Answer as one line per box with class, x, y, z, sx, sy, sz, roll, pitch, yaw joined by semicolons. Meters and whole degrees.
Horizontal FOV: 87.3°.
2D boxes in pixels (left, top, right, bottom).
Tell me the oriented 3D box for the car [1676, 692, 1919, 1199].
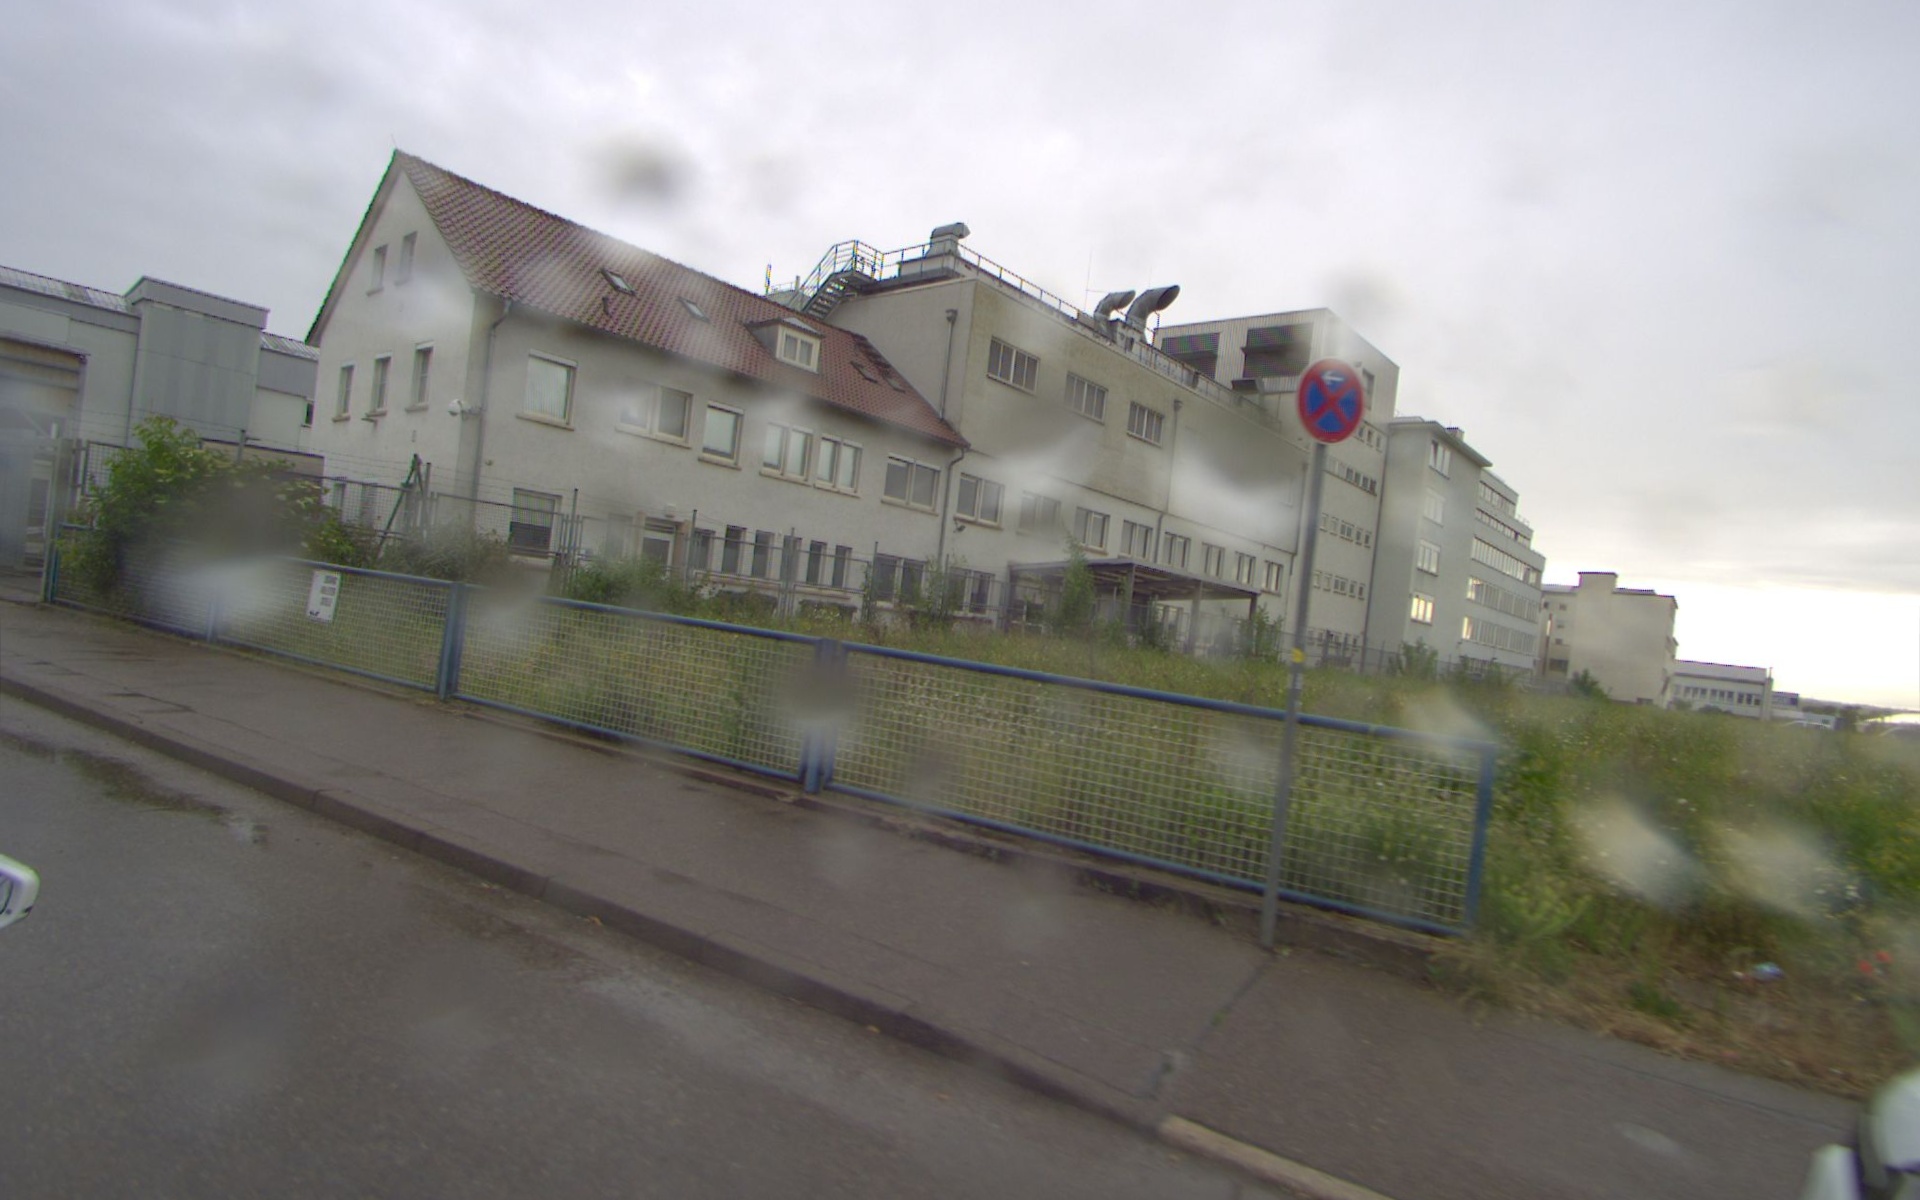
car;2.991;1.142;0.868;3.611;1.575;1.686;7;-2;29
